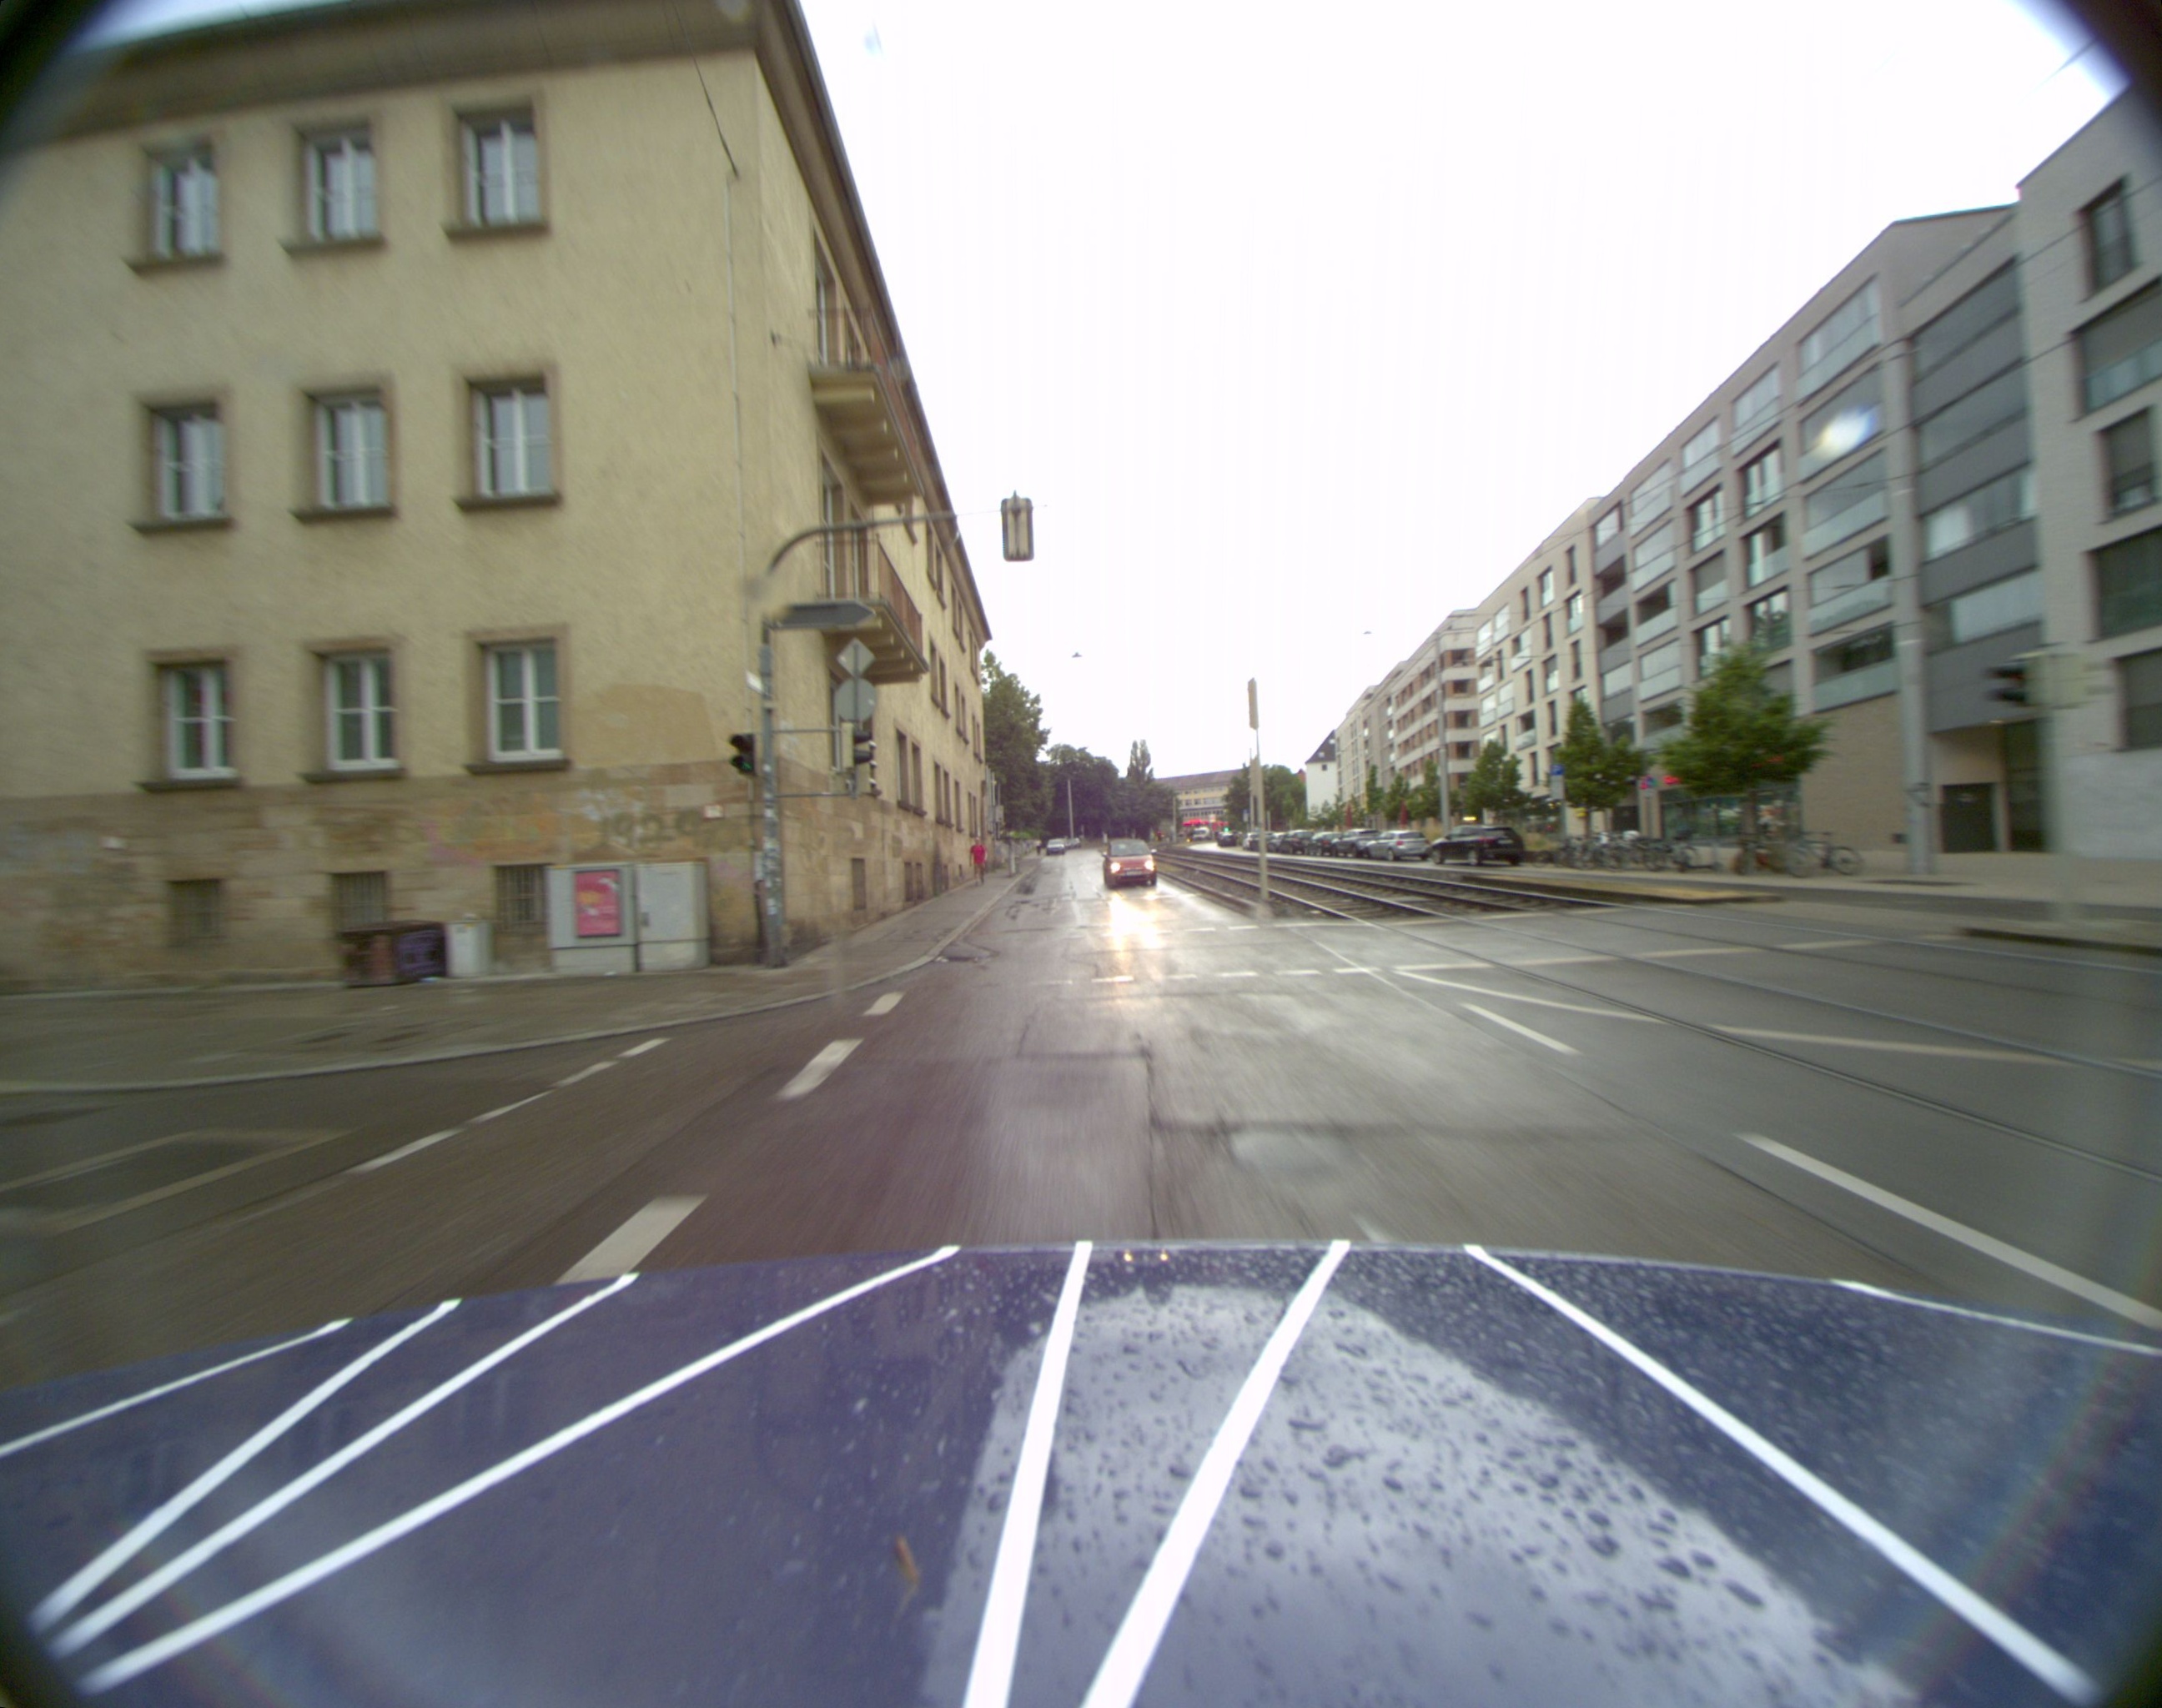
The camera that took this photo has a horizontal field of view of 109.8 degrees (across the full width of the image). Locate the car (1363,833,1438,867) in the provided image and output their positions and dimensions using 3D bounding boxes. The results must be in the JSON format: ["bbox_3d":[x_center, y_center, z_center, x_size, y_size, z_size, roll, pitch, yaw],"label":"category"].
[{"bbox_3d":[15.470,-0.224,37.052,1.684,1.456,4.327,-4,2,-2],"label":"car"}]

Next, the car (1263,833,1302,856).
[{"bbox_3d":[15.069,-0.742,57.083,1.684,1.496,3.927,-4,2,-2],"label":"car"}]

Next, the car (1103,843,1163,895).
[{"bbox_3d":[1.712,0.454,26.003,1.594,1.456,3.668,-5,2,-2],"label":"car"}]

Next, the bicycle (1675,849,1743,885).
[{"bbox_3d":[17.798,0.357,21.543,1.789,0.912,0.387,-3,2,-9],"label":"bicycle"}]

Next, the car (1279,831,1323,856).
[{"bbox_3d":[14.965,-0.736,51.830,1.684,1.555,3.927,-4,2,-2],"label":"car"}]

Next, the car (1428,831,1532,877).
[{"bbox_3d":[15.769,-0.051,30.286,1.684,1.595,4.327,-4,2,-2],"label":"car"}]

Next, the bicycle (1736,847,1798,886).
[{"bbox_3d":[18.427,0.326,20.402,1.790,0.912,0.387,-4,2,-18],"label":"bicycle"}]

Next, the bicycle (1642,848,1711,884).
[{"bbox_3d":[17.527,0.339,22.366,1.789,0.912,0.387,-4,2,-5],"label":"bicycle"}]

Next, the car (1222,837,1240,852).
[{"bbox_3d":[16.914,-1.102,85.837,1.654,1.456,3.671,-5,2,8],"label":"car"}]

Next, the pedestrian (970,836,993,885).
[{"bbox_3d":[-3.638,0.242,27.753,0.749,1.754,0.818,1,2,-2],"label":"pedestrian"}]

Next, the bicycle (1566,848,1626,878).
[{"bbox_3d":[17.211,0.299,25.404,1.789,0.912,0.387,-3,2,-5],"label":"bicycle"}]

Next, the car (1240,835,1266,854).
[{"bbox_3d":[15.166,-0.894,66.998,1.649,1.496,3.780,-4,2,5],"label":"car"}]

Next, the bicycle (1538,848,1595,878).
[{"bbox_3d":[16.865,0.304,26.404,1.789,0.912,0.387,-4,2,-5],"label":"bicycle"}]

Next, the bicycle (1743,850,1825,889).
[{"bbox_3d":[18.096,0.401,19.572,1.788,0.871,0.387,-4,2,-3],"label":"bicycle"}]

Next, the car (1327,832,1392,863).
[{"bbox_3d":[15.353,-0.402,42.130,1.685,1.521,4.046,-4,2,-6],"label":"car"}]

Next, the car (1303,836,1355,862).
[{"bbox_3d":[15.169,-0.332,46.712,1.684,1.373,4.031,-4,2,-2],"label":"car"}]

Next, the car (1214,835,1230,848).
[{"bbox_3d":[17.481,-1.548,94.216,1.654,1.456,3.671,-5,2,8],"label":"car"}]

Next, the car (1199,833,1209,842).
[{"bbox_3d":[26.821,-3.598,165.393,1.666,1.598,3.810,-5,2,14],"label":"car"}]

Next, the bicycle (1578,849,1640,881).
[{"bbox_3d":[16.851,0.354,24.260,1.789,0.912,0.387,-3,2,-5],"label":"bicycle"}]

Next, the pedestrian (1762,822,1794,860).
[{"bbox_3d":[27.382,-0.515,29.868,0.540,1.441,0.803,-5,2,12],"label":"pedestrian"}]

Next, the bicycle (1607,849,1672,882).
[{"bbox_3d":[17.223,0.346,23.433,1.789,0.912,0.387,-3,2,-5],"label":"bicycle"}]

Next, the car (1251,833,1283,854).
[{"bbox_3d":[15.053,-0.898,61.702,1.684,1.496,4.404,-4,2,4],"label":"car"}]

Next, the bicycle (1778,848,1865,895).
[{"bbox_3d":[17.874,0.405,18.347,1.789,0.975,0.440,-4,2,-5],"label":"bicycle"}]

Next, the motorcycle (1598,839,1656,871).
[{"bbox_3d":[19.625,0.028,27.333,1.763,1.037,0.542,-2,4,-4],"label":"motorcycle"}]

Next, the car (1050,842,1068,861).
[{"bbox_3d":[-2.255,-0.299,77.609,1.726,1.676,3.864,-5,2,-2],"label":"car"}]
